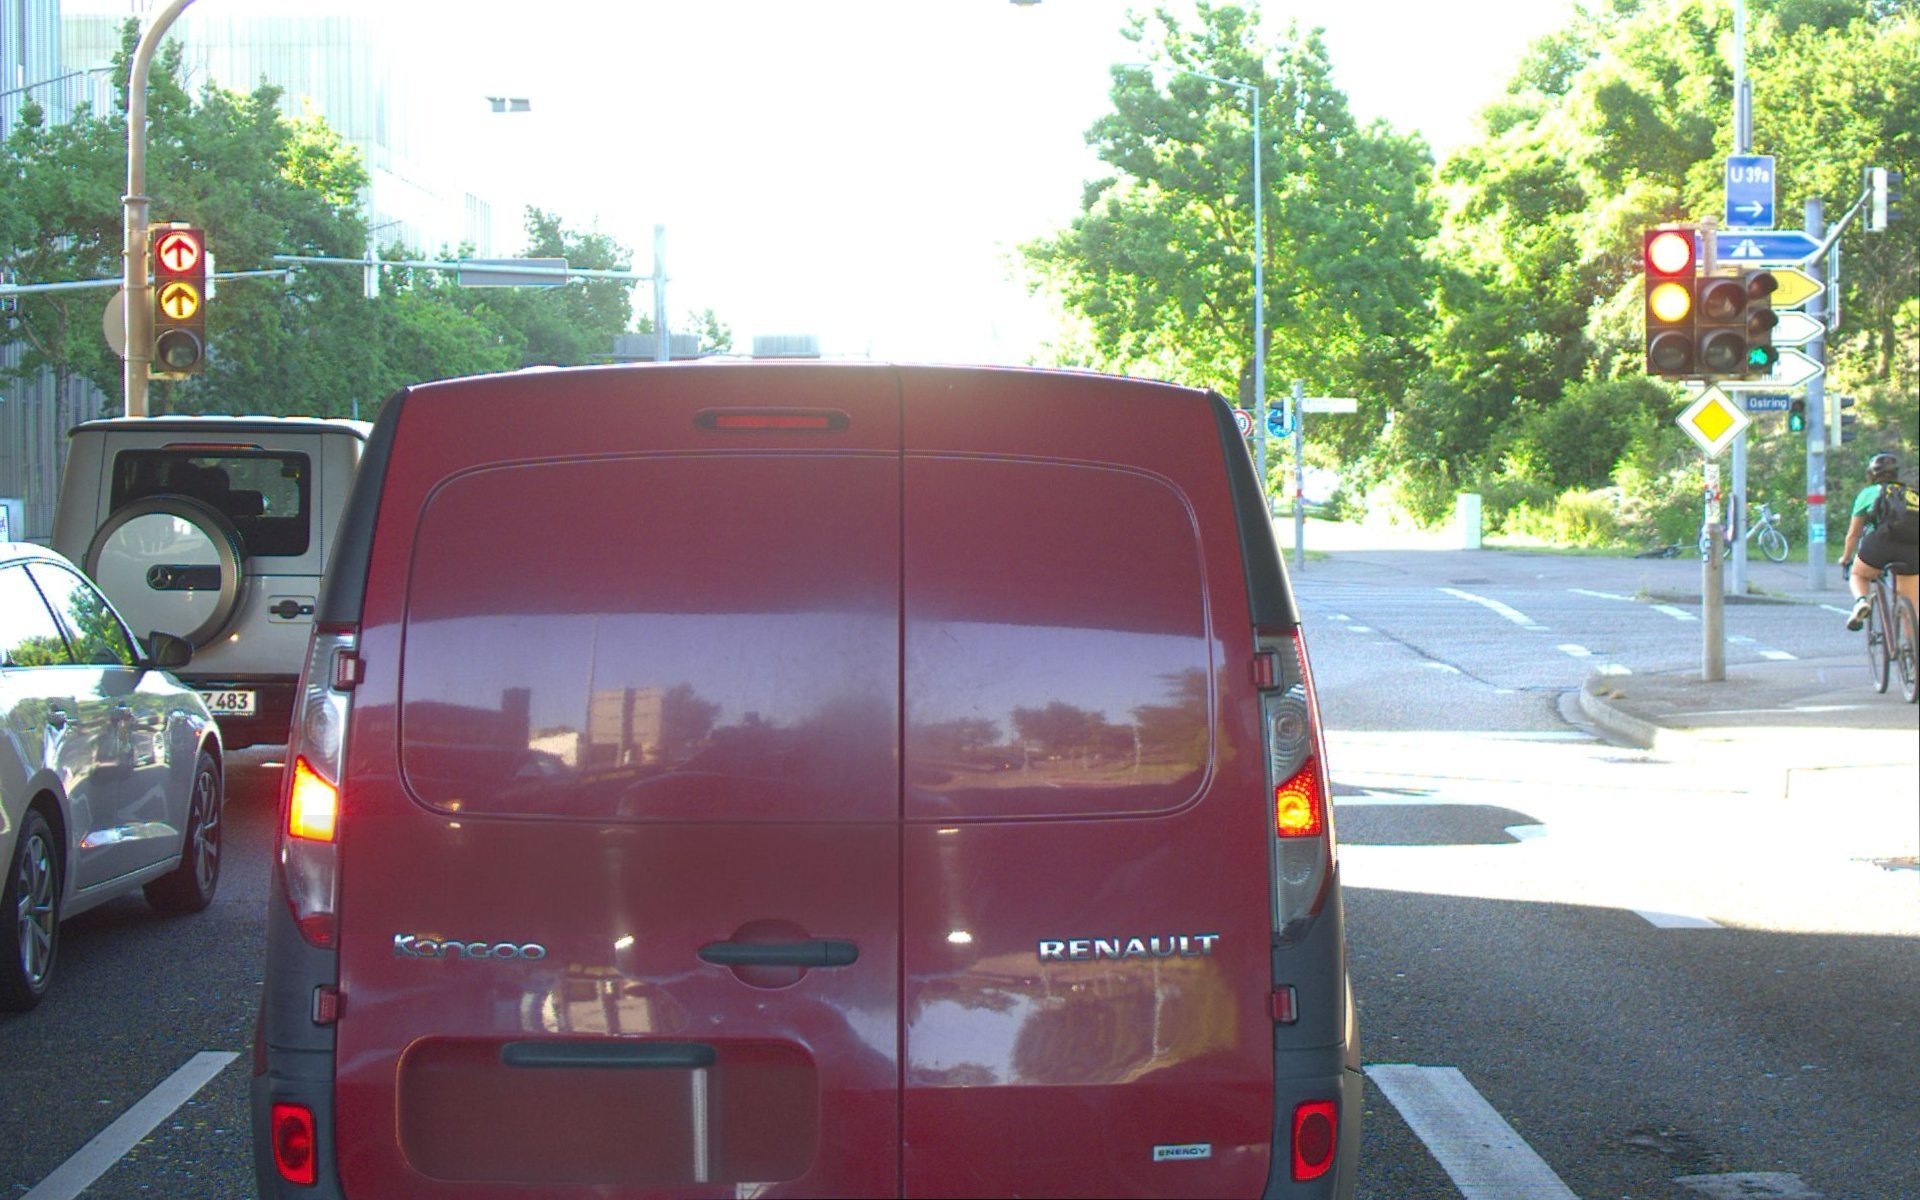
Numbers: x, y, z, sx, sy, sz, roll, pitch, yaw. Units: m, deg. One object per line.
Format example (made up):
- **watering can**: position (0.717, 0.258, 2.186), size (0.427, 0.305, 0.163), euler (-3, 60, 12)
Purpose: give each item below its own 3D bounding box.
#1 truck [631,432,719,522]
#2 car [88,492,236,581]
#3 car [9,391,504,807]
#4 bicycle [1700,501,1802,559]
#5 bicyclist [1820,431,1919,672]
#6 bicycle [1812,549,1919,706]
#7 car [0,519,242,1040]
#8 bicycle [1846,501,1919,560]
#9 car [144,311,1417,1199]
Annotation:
- **truck**: position (-10.092, -4.348, 122.176), size (2.409, 3.016, 6.657), euler (-2, 2, 0)
- **car**: position (-16.572, -1.349, 71.621), size (1.825, 1.731, 4.629), euler (-2, 2, 1)
- **car**: position (-3.696, -0.026, 18.873), size (1.801, 1.982, 4.589), euler (1, 1, -1)
- **bicycle**: position (14.350, -1.275, 62.374), size (1.745, 1.020, 0.593), euler (1, 0, 9)
- **bicyclist**: position (6.296, -0.329, 23.447), size (0.591, 1.608, 0.942), euler (1, 0, -1)
- **bicycle**: position (6.307, 0.171, 23.309), size (0.591, 1.020, 1.750), euler (1, 1, -1)
- **car**: position (-3.649, 0.467, 11.406), size (1.813, 1.433, 3.731), euler (0, 2, -1)
- **bicycle**: position (16.653, -1.229, 60.987), size (1.745, 1.020, 0.593), euler (1, 0, 9)
- **car**: position (-0.282, 0.474, 6.922), size (1.805, 1.788, 4.000), euler (1, 1, -1)
